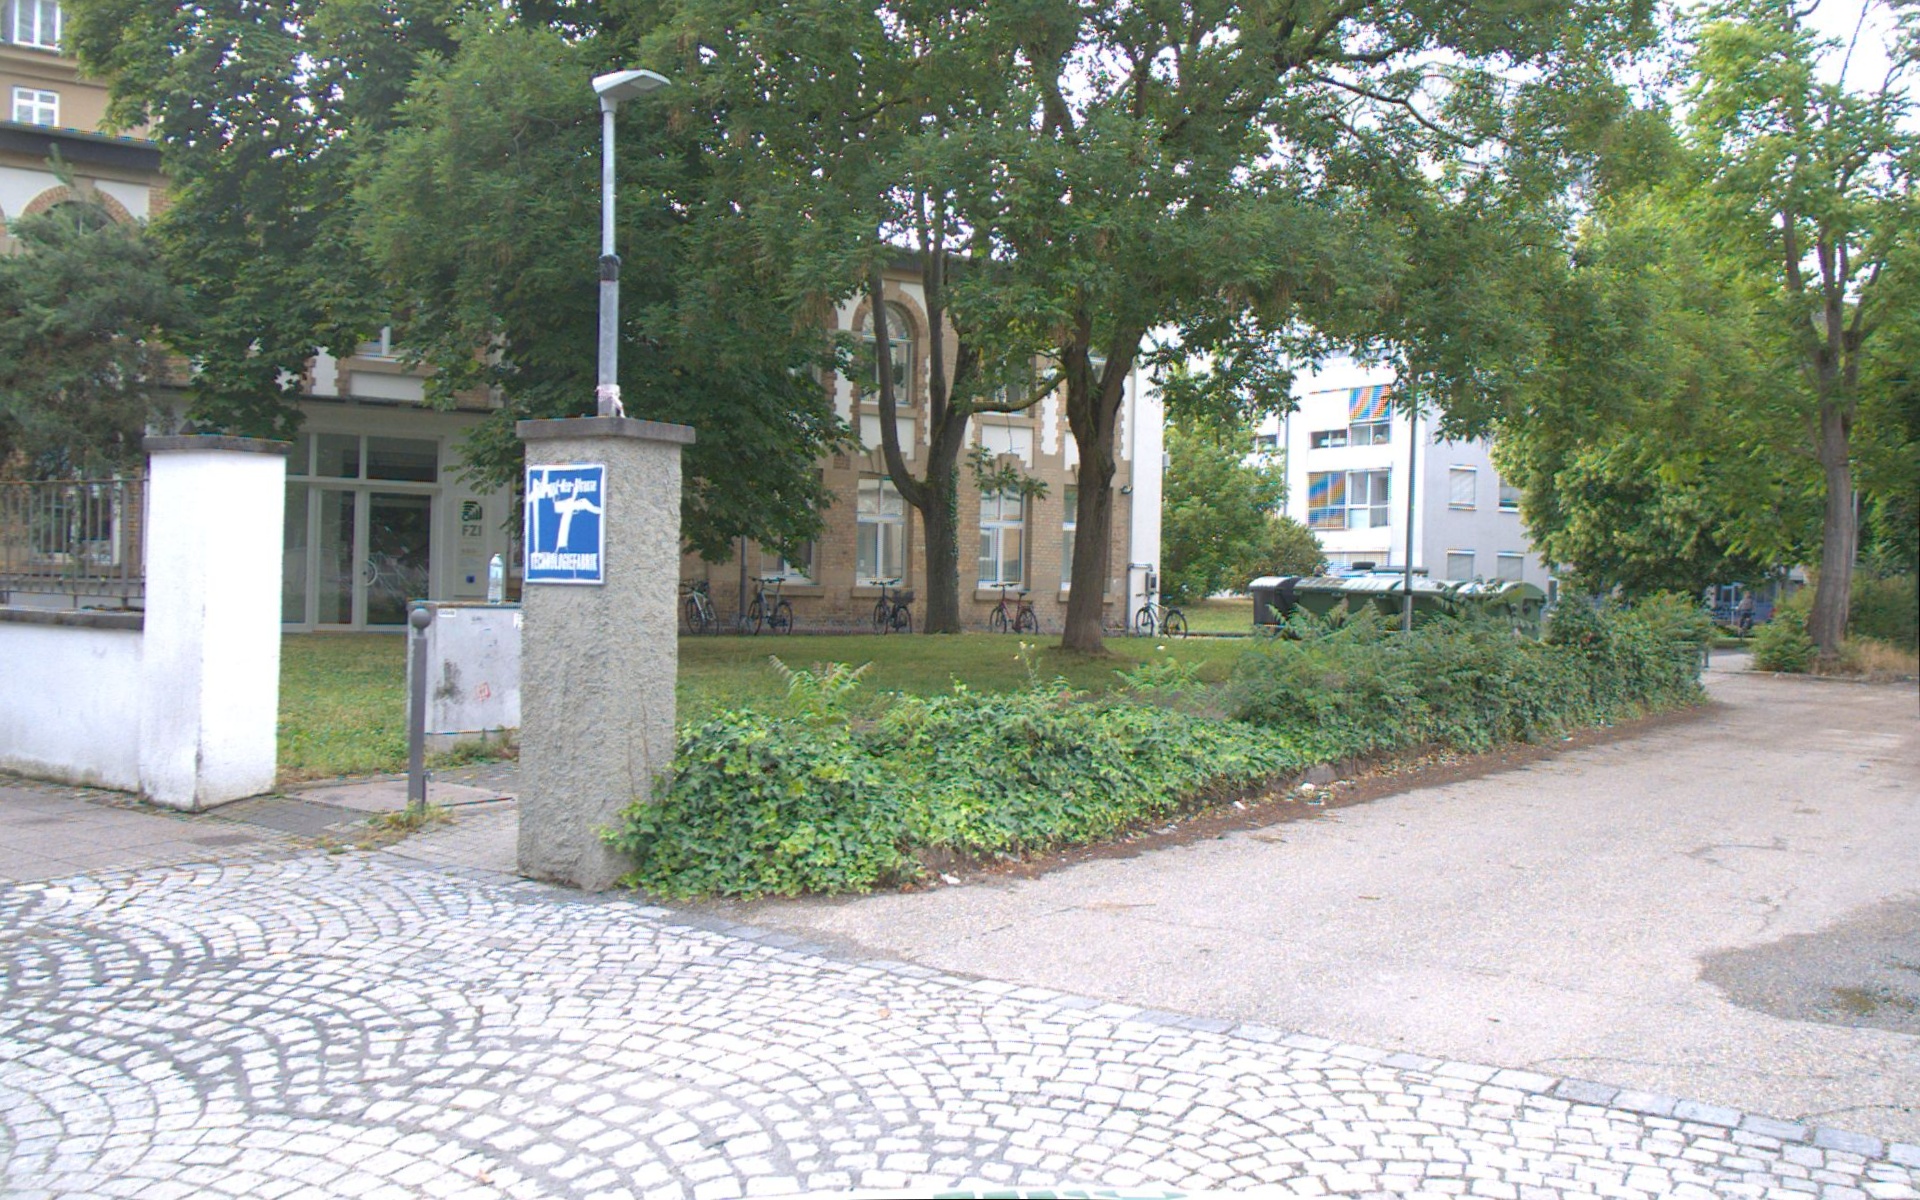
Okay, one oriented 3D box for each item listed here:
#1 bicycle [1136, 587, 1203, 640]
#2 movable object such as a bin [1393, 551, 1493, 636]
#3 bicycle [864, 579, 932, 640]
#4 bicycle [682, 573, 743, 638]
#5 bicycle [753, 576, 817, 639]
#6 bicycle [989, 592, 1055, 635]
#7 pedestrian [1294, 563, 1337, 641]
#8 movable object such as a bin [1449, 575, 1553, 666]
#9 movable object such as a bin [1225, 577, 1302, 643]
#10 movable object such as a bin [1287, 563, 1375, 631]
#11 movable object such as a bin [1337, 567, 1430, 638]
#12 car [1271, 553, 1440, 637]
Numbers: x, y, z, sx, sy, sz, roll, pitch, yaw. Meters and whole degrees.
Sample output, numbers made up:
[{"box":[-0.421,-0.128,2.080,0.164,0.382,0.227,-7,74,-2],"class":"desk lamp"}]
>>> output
[{"box":[4.517,0.292,35.803,0.390,1.084,1.810,1,1,-30],"class":"bicycle"},{"box":[8.680,-0.121,29.746,1.043,1.481,1.338,2,0,-34],"class":"movable object such as a bin"},{"box":[-1.236,0.172,32.565,0.608,1.139,2.207,1,1,-22],"class":"bicycle"},{"box":[-4.614,0.089,30.744,0.608,1.139,2.207,1,1,-22],"class":"bicycle"},{"box":[-3.327,0.120,31.309,0.608,1.139,2.207,1,1,-22],"class":"bicycle"},{"box":[1.261,0.270,33.990,0.608,0.828,1.932,1,1,-22],"class":"bicycle"},{"box":[8.548,0.048,39.743,0.747,1.840,0.690,1,-1,-33],"class":"pedestrian"},{"box":[9.283,0.343,28.438,1.037,1.475,1.347,1,2,-20],"class":"movable object such as a bin"},{"box":[6.132,0.199,33.492,1.035,1.287,1.348,1,1,-16],"class":"movable object such as a bin"},{"box":[7.261,-0.059,32.400,1.045,1.287,1.336,1,1,-37],"class":"movable object such as a bin"},{"box":[7.951,0.041,31.070,1.043,1.287,1.338,1,1,-34],"class":"movable object such as a bin"},{"box":[10.308,-0.099,42.979,4.298,2.049,1.833,1,-1,-34],"class":"car"}]
